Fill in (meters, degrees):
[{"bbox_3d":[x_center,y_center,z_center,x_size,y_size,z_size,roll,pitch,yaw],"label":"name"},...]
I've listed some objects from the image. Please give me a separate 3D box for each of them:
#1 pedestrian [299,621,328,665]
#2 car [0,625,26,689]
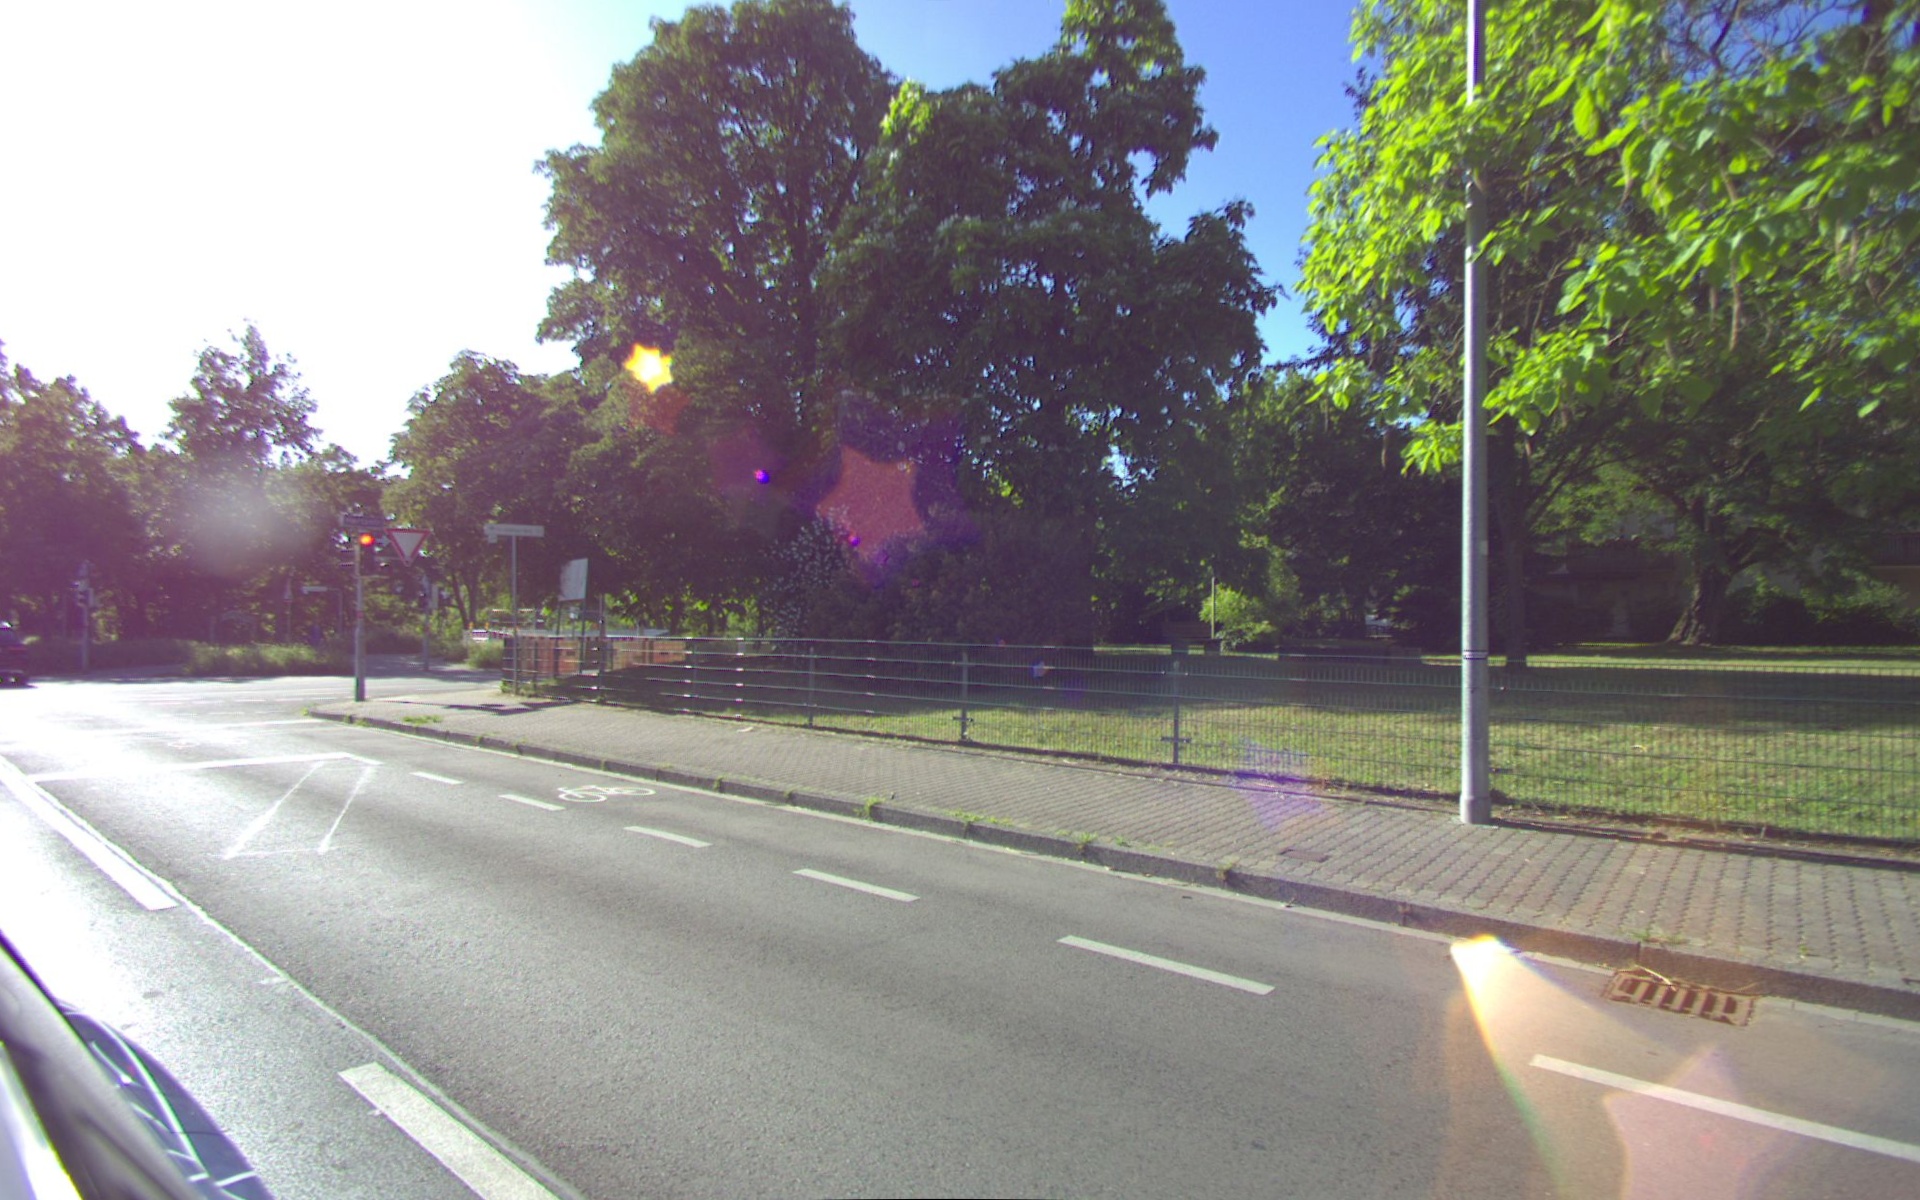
[{"bbox_3d":[-24.950,1.643,39.056,0.647,1.646,0.790,-3,-2,41],"label":"pedestrian"},{"bbox_3d":[-26.198,1.480,26.750,4.391,1.630,1.795,-2,-3,42],"label":"car"}]
